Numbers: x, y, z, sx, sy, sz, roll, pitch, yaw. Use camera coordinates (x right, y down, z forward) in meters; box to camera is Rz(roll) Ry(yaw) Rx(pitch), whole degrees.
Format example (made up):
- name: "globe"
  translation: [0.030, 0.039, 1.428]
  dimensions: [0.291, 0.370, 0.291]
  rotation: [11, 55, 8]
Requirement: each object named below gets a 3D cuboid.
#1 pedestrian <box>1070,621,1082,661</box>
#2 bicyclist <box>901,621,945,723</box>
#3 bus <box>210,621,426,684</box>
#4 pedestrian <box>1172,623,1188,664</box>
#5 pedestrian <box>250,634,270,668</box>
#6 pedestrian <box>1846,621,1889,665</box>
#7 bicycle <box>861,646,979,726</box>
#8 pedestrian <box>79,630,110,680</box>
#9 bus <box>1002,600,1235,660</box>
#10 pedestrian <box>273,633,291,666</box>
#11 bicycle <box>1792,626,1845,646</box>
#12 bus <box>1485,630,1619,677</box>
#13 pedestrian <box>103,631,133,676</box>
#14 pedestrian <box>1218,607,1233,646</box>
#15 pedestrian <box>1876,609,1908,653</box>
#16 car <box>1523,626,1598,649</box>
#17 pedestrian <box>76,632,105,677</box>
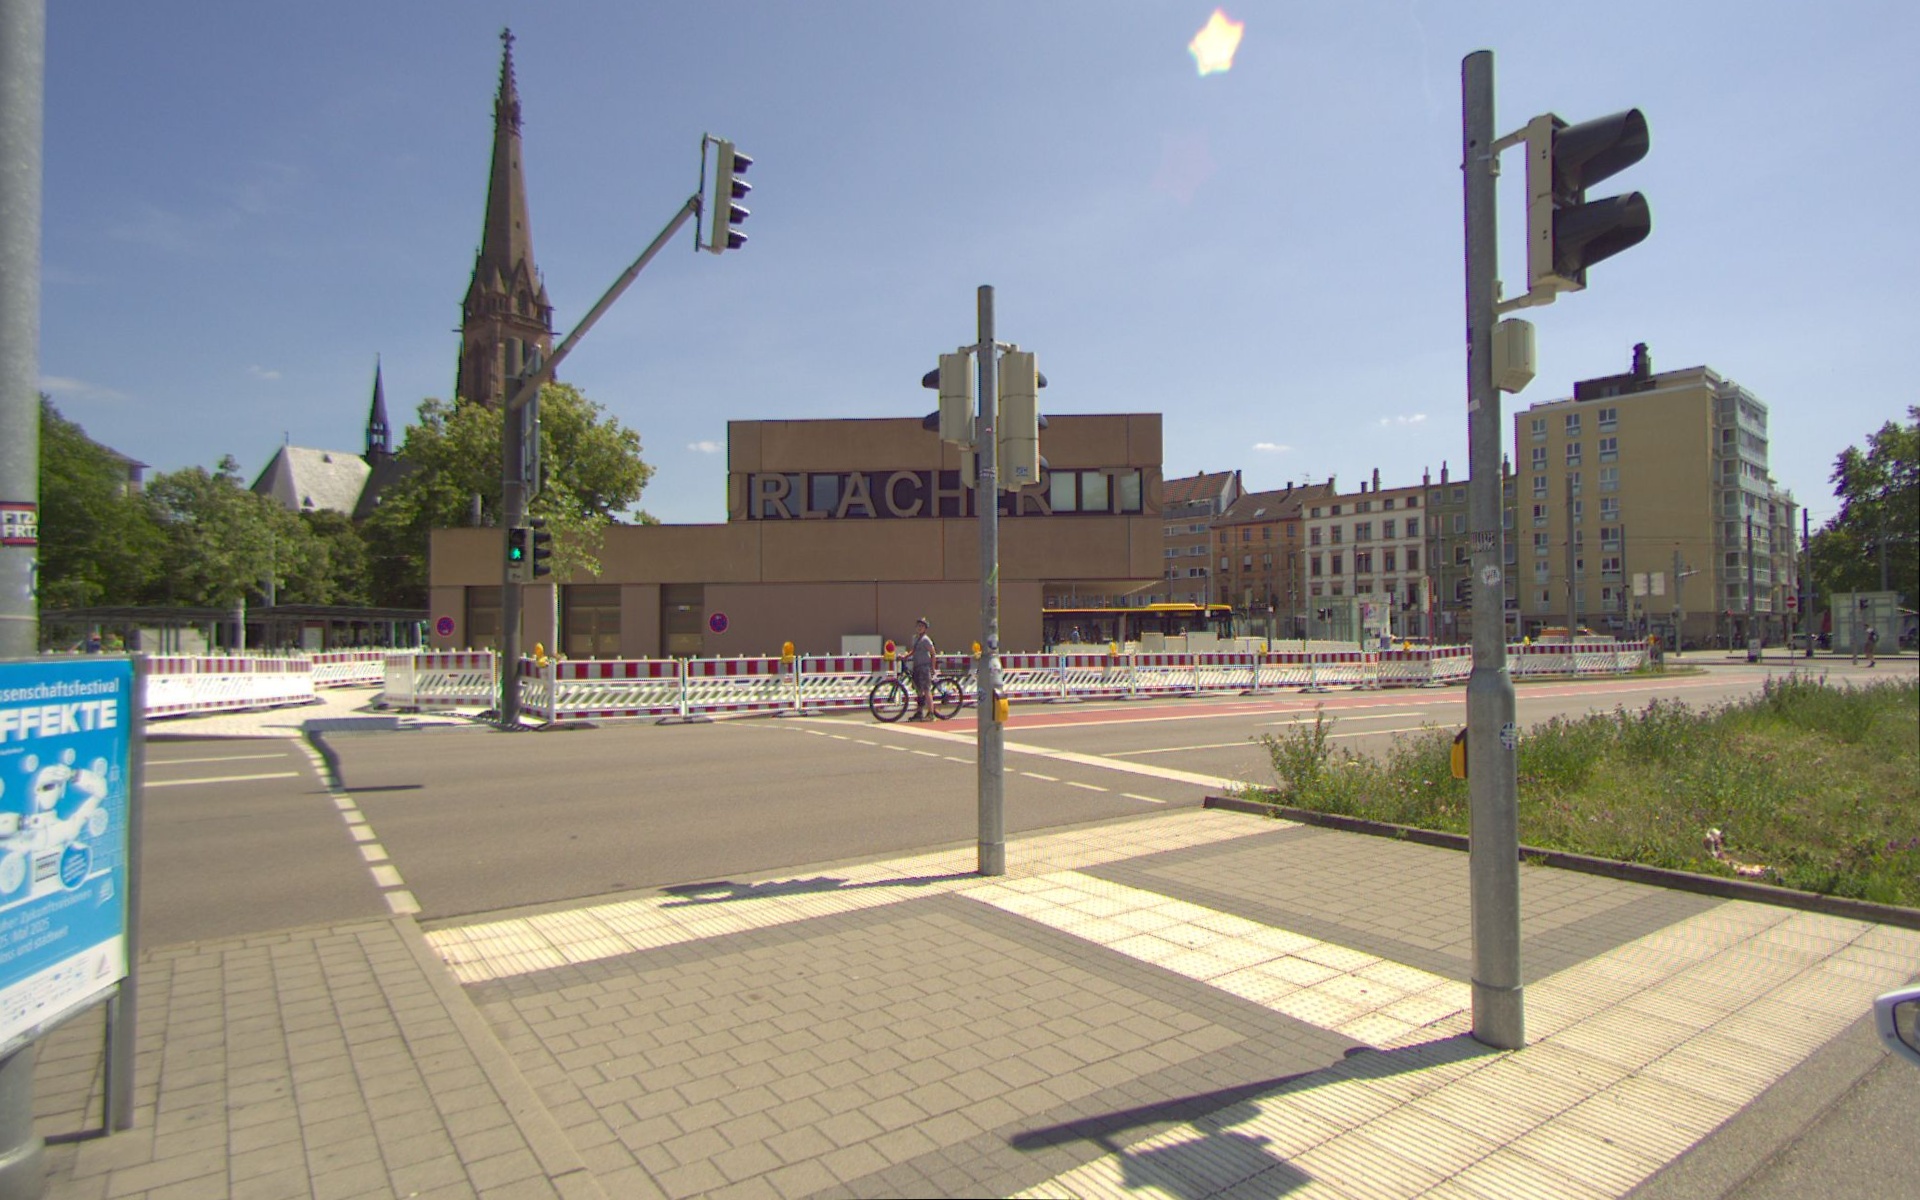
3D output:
- name: "pedestrian"
  translation: [5.885, 2.079, 50.970]
  dimensions: [0.573, 2.022, 0.572]
  rotation: [-2, 0, 6]
- name: "bicyclist"
  translation: [-0.593, 1.134, 16.003]
  dimensions: [0.493, 1.600, 0.526]
  rotation: [2, -2, -34]
- name: "bus"
  translation: [-35.453, 2.879, 55.633]
  dimensions: [10.390, 3.094, 2.857]
  rotation: [-2, 0, 4]
- name: "pedestrian"
  translation: [11.068, 2.195, 50.553]
  dimensions: [0.650, 2.022, 0.611]
  rotation: [-2, 0, 17]
- name: "pedestrian"
  translation: [-35.774, 2.591, 51.347]
  dimensions: [0.536, 1.676, 0.627]
  rotation: [-2, 0, -1]
- name: "pedestrian"
  translation: [41.225, 1.949, 45.634]
  dimensions: [0.891, 1.959, 1.174]
  rotation: [-2, 0, -29]
- name: "bicycle"
  translation: [-0.616, 1.341, 15.971]
  dimensions: [1.879, 1.196, 0.519]
  rotation: [2, -2, -35]
- name: "pedestrian"
  translation: [-34.338, 2.174, 39.837]
  dimensions: [0.565, 1.931, 0.693]
  rotation: [-2, 0, 2]
- name: "bus"
  translation: [8.280, 1.633, 53.915]
  dimensions: [12.007, 3.081, 3.741]
  rotation: [0, -2, 3]
- name: "pedestrian"
  translation: [-34.530, 2.523, 51.131]
  dimensions: [0.510, 1.642, 0.537]
  rotation: [-2, 0, -1]
- name: "bicycle"
  translation: [72.164, 3.030, 84.466]
  dimensions: [3.259, 1.616, 0.819]
  rotation: [-2, 0, 21]
- name: "bus"
  translation: [20.073, 1.763, 33.950]
  dimensions: [5.751, 1.266, 1.238]
  rotation: [-2, 0, -31]
- name: "pedestrian"
  translation: [-34.418, 2.176, 41.068]
  dimensions: [0.625, 1.812, 0.646]
  rotation: [-2, 0, 3]
- name: "pedestrian"
  translation: [13.922, 1.399, 52.698]
  dimensions: [0.650, 2.022, 0.611]
  rotation: [-2, 0, 7]
- name: "pedestrian"
  translation: [65.680, 2.178, 70.766]
  dimensions: [1.318, 2.977, 1.210]
  rotation: [-2, 0, -26]
- name: "car"
  translation: [45.075, 2.797, 75.467]
  dimensions: [1.660, 1.635, 4.589]
  rotation: [-2, -1, -37]
- name: "pedestrian"
  translation: [-35.456, 2.213, 40.965]
  dimensions: [0.647, 1.779, 0.540]
  rotation: [-2, 0, -7]
